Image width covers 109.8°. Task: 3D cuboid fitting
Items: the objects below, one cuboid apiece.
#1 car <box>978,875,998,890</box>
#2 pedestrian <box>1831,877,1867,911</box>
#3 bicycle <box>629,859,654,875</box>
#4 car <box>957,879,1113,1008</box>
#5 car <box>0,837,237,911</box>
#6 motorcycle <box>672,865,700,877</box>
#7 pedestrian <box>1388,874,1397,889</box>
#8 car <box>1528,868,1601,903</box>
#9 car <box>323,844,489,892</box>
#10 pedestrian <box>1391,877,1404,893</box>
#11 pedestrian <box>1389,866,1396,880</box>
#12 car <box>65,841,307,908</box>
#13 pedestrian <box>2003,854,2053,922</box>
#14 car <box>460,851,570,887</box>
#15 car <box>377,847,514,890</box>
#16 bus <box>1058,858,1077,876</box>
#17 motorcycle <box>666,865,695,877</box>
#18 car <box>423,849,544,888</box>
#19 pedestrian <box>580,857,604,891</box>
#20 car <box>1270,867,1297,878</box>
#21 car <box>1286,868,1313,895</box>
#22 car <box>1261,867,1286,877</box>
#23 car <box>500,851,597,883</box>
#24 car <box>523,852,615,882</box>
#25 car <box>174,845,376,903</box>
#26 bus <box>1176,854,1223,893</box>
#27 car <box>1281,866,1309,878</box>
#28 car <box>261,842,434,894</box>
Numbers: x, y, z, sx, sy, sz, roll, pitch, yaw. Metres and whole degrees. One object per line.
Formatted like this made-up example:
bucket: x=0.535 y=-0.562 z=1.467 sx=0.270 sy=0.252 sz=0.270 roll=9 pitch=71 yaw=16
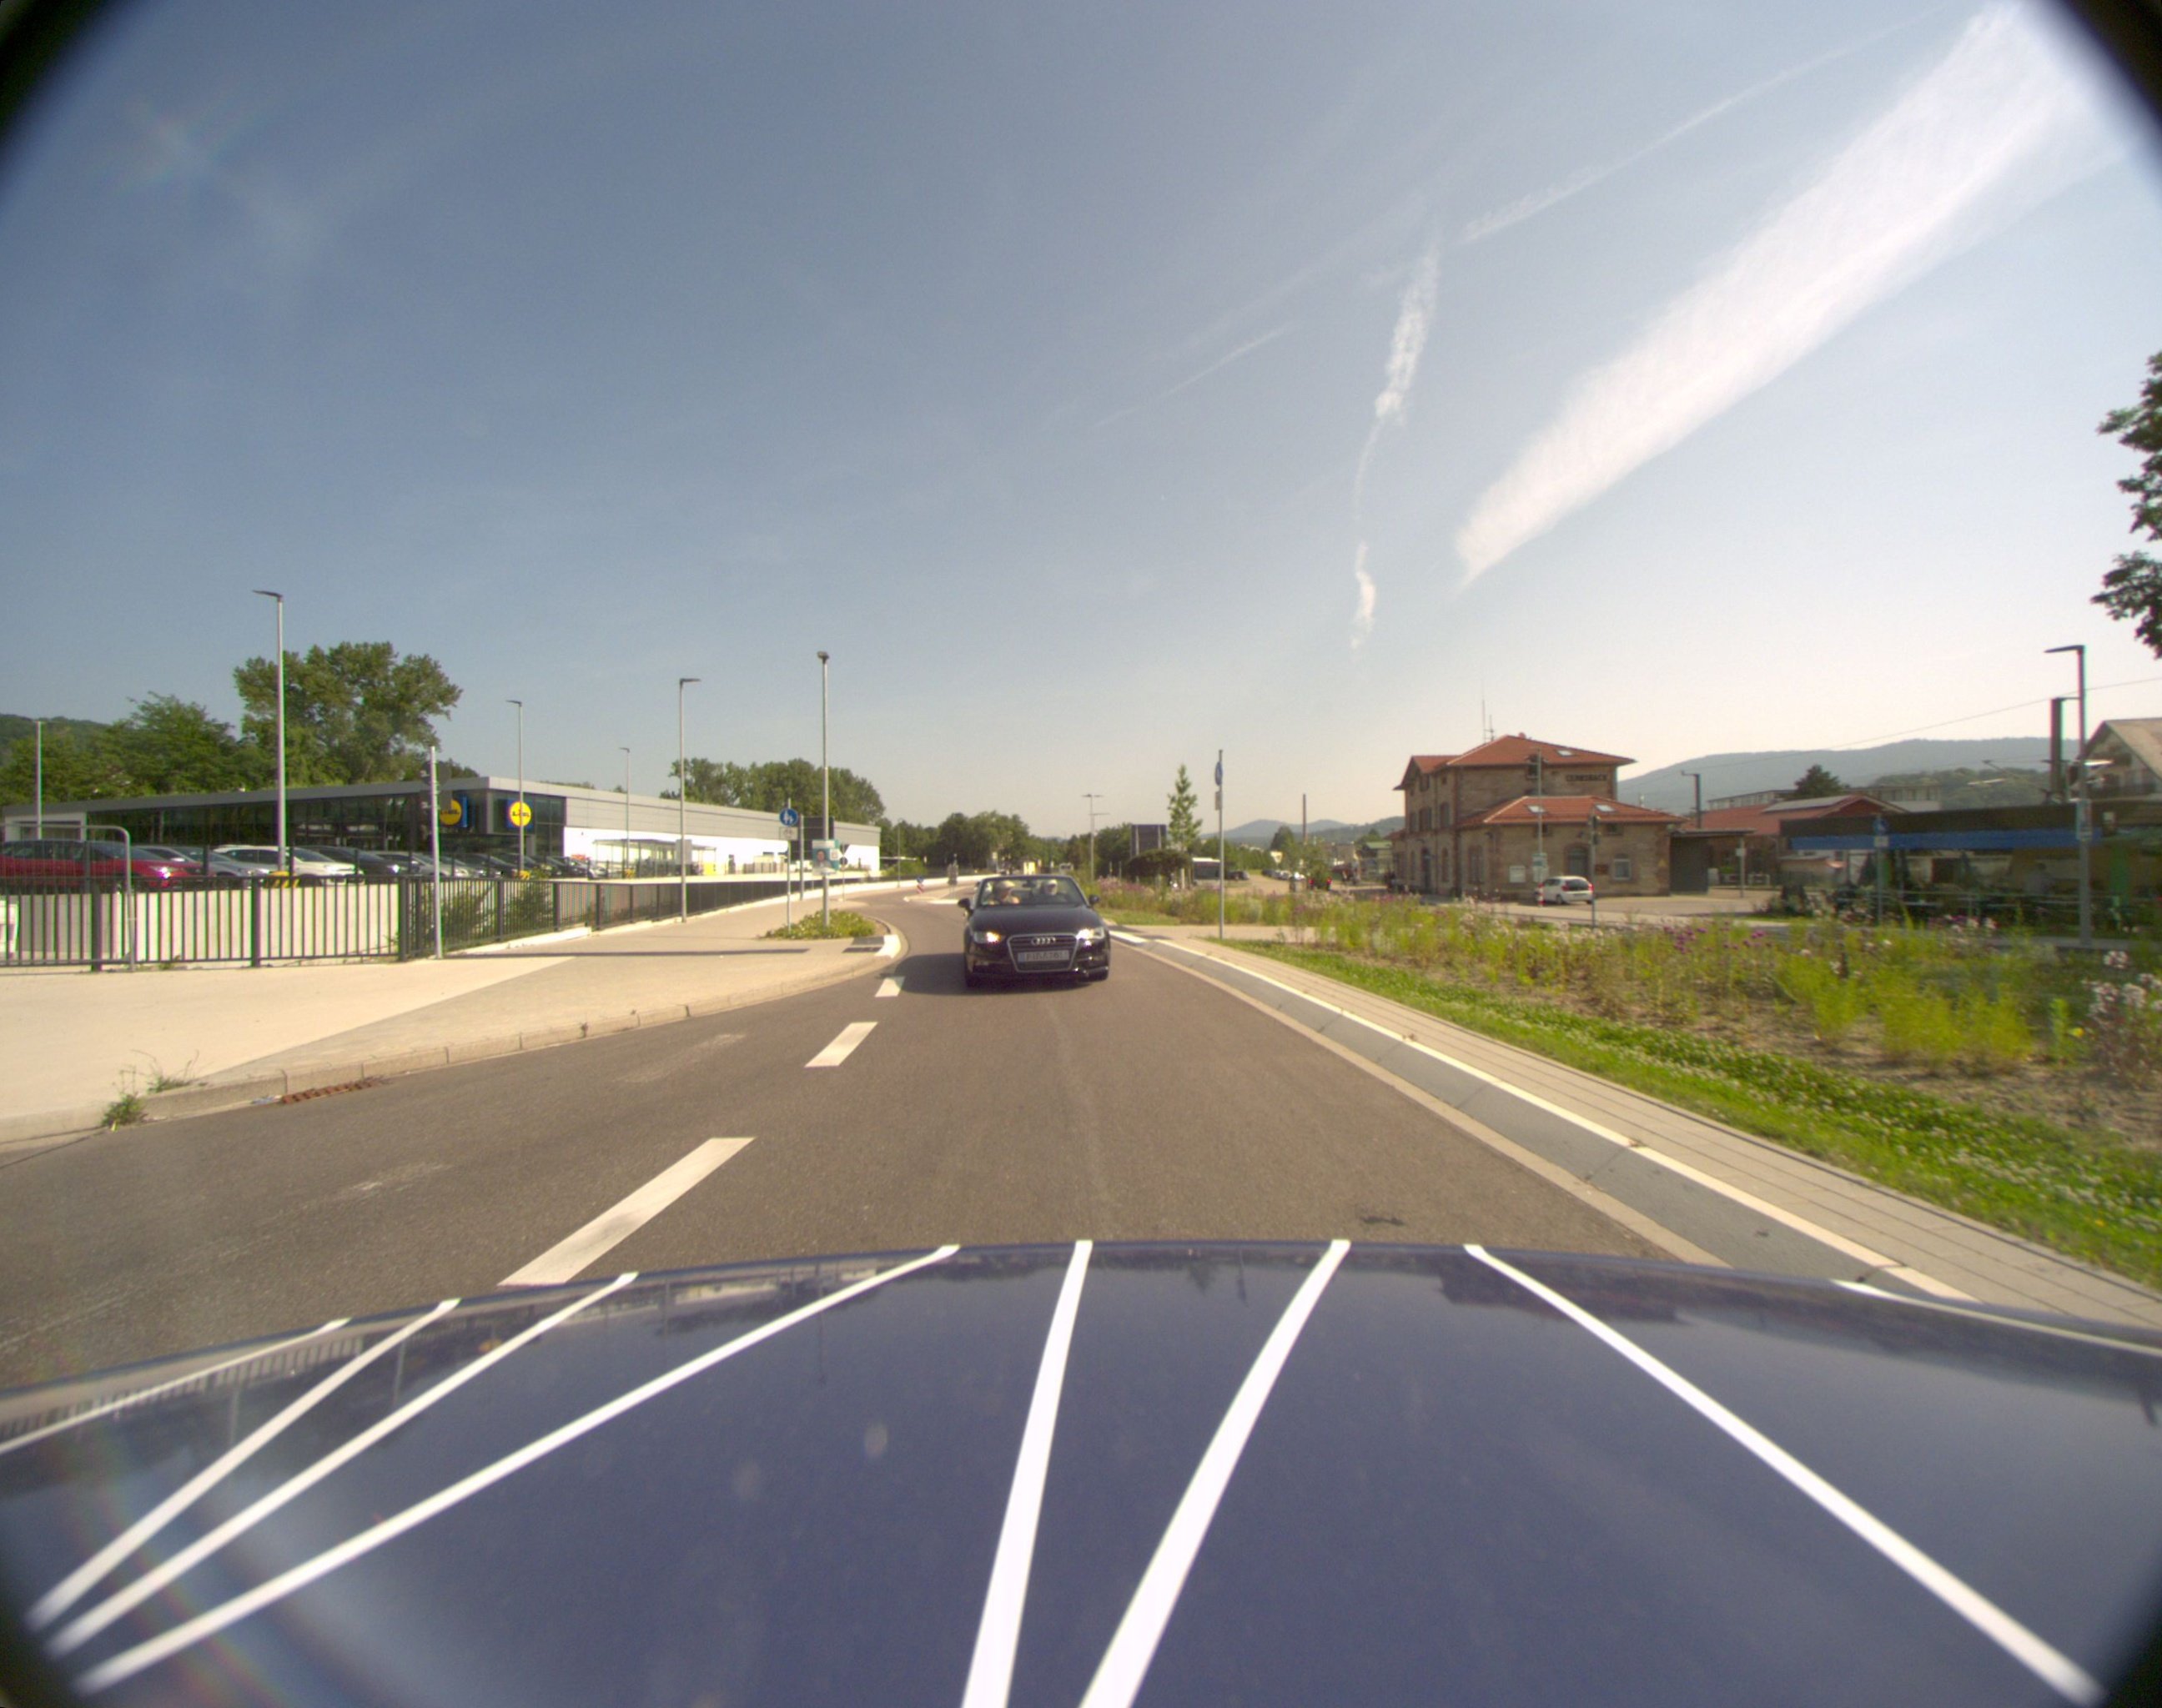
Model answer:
car: x=-9.369 y=2.824 z=76.252 sx=1.782 sy=1.390 sz=3.997 roll=-3 pitch=-1 yaw=-9
pedestrian: x=27.469 y=1.427 z=27.194 sx=0.559 sy=1.157 sz=0.680 roll=-3 pitch=0 yaw=-14
bicycle: x=-30.833 y=0.899 z=53.328 sx=0.626 sy=1.087 sz=1.879 roll=-3 pitch=-1 yaw=1
car: x=-0.794 y=1.065 z=10.634 sx=1.722 sy=1.314 sz=4.221 roll=-2 pitch=-1 yaw=-8
car: x=-24.093 y=0.486 z=18.739 sx=4.023 sy=1.564 sz=1.777 roll=-3 pitch=0 yaw=-13
motorcycle: x=-30.602 y=1.301 z=58.896 sx=1.881 sy=0.858 sz=0.625 roll=-2 pitch=0 yaw=-33
pedestrian: x=25.146 y=2.225 z=61.252 sx=0.512 sy=1.155 sz=0.507 roll=-3 pitch=0 yaw=9
car: x=25.726 y=1.652 z=40.587 sx=1.678 sy=1.559 sz=3.651 roll=-3 pitch=1 yaw=4
car: x=-25.866 y=0.527 z=29.303 sx=4.418 sy=1.564 sz=1.702 roll=-3 pitch=0 yaw=-16
pedestrian: x=24.578 y=2.411 z=58.977 sx=0.789 sy=1.155 sz=0.507 roll=-3 pitch=0 yaw=9
pedestrian: x=26.919 y=1.663 z=65.611 sx=0.371 sy=1.155 sz=0.507 roll=-3 pitch=0 yaw=9
car: x=-24.545 y=0.536 z=21.016 sx=4.023 sy=1.564 sz=1.777 roll=-3 pitch=0 yaw=-13
pedestrian: x=28.834 y=1.014 z=23.139 sx=0.860 sy=2.002 sz=0.708 roll=-3 pitch=0 yaw=-25
car: x=-28.365 y=0.763 z=38.219 sx=4.002 sy=1.564 sz=1.702 roll=-3 pitch=0 yaw=-16
car: x=-26.566 y=0.595 z=31.925 sx=4.002 sy=1.564 sz=1.702 roll=-3 pitch=0 yaw=-16
bus: x=-2.415 y=2.331 z=140.834 sx=2.867 sy=3.173 sz=9.120 roll=-2 pitch=-1 yaw=2
motorcycle: x=-30.461 y=1.280 z=57.797 sx=1.881 sy=0.858 sz=0.625 roll=-2 pitch=0 yaw=-33
car: x=-27.448 y=0.677 z=35.049 sx=4.002 sy=1.564 sz=1.702 roll=-3 pitch=0 yaw=-16
pedestrian: x=-30.118 y=1.238 z=46.783 sx=0.832 sy=2.002 sz=0.863 roll=-3 pitch=0 yaw=0
car: x=35.171 y=3.143 z=131.926 sx=4.000 sy=1.717 sz=1.837 roll=-3 pitch=0 yaw=-10
car: x=18.485 y=2.295 z=64.062 sx=1.974 sy=1.953 sz=5.164 roll=-3 pitch=-1 yaw=17
car: x=34.624 y=3.227 z=136.661 sx=4.000 sy=1.717 sz=1.837 roll=-3 pitch=0 yaw=-10
car: x=-29.317 y=0.718 z=41.945 sx=4.002 sy=1.564 sz=1.702 roll=-3 pitch=0 yaw=-16
car: x=-30.384 y=0.750 z=45.182 sx=4.134 sy=1.564 sz=1.702 roll=-3 pitch=0 yaw=-16
car: x=-25.201 y=0.605 z=23.942 sx=4.002 sy=1.564 sz=1.702 roll=-3 pitch=0 yaw=-16
bus: x=11.165 y=1.830 z=72.729 sx=2.587 sy=3.309 sz=10.589 roll=-3 pitch=-1 yaw=-1
car: x=35.869 y=3.050 z=127.218 sx=4.000 sy=1.717 sz=1.837 roll=-3 pitch=0 yaw=-10
car: x=-25.679 y=0.486 z=26.752 sx=4.002 sy=1.564 sz=1.702 roll=-3 pitch=0 yaw=-16
